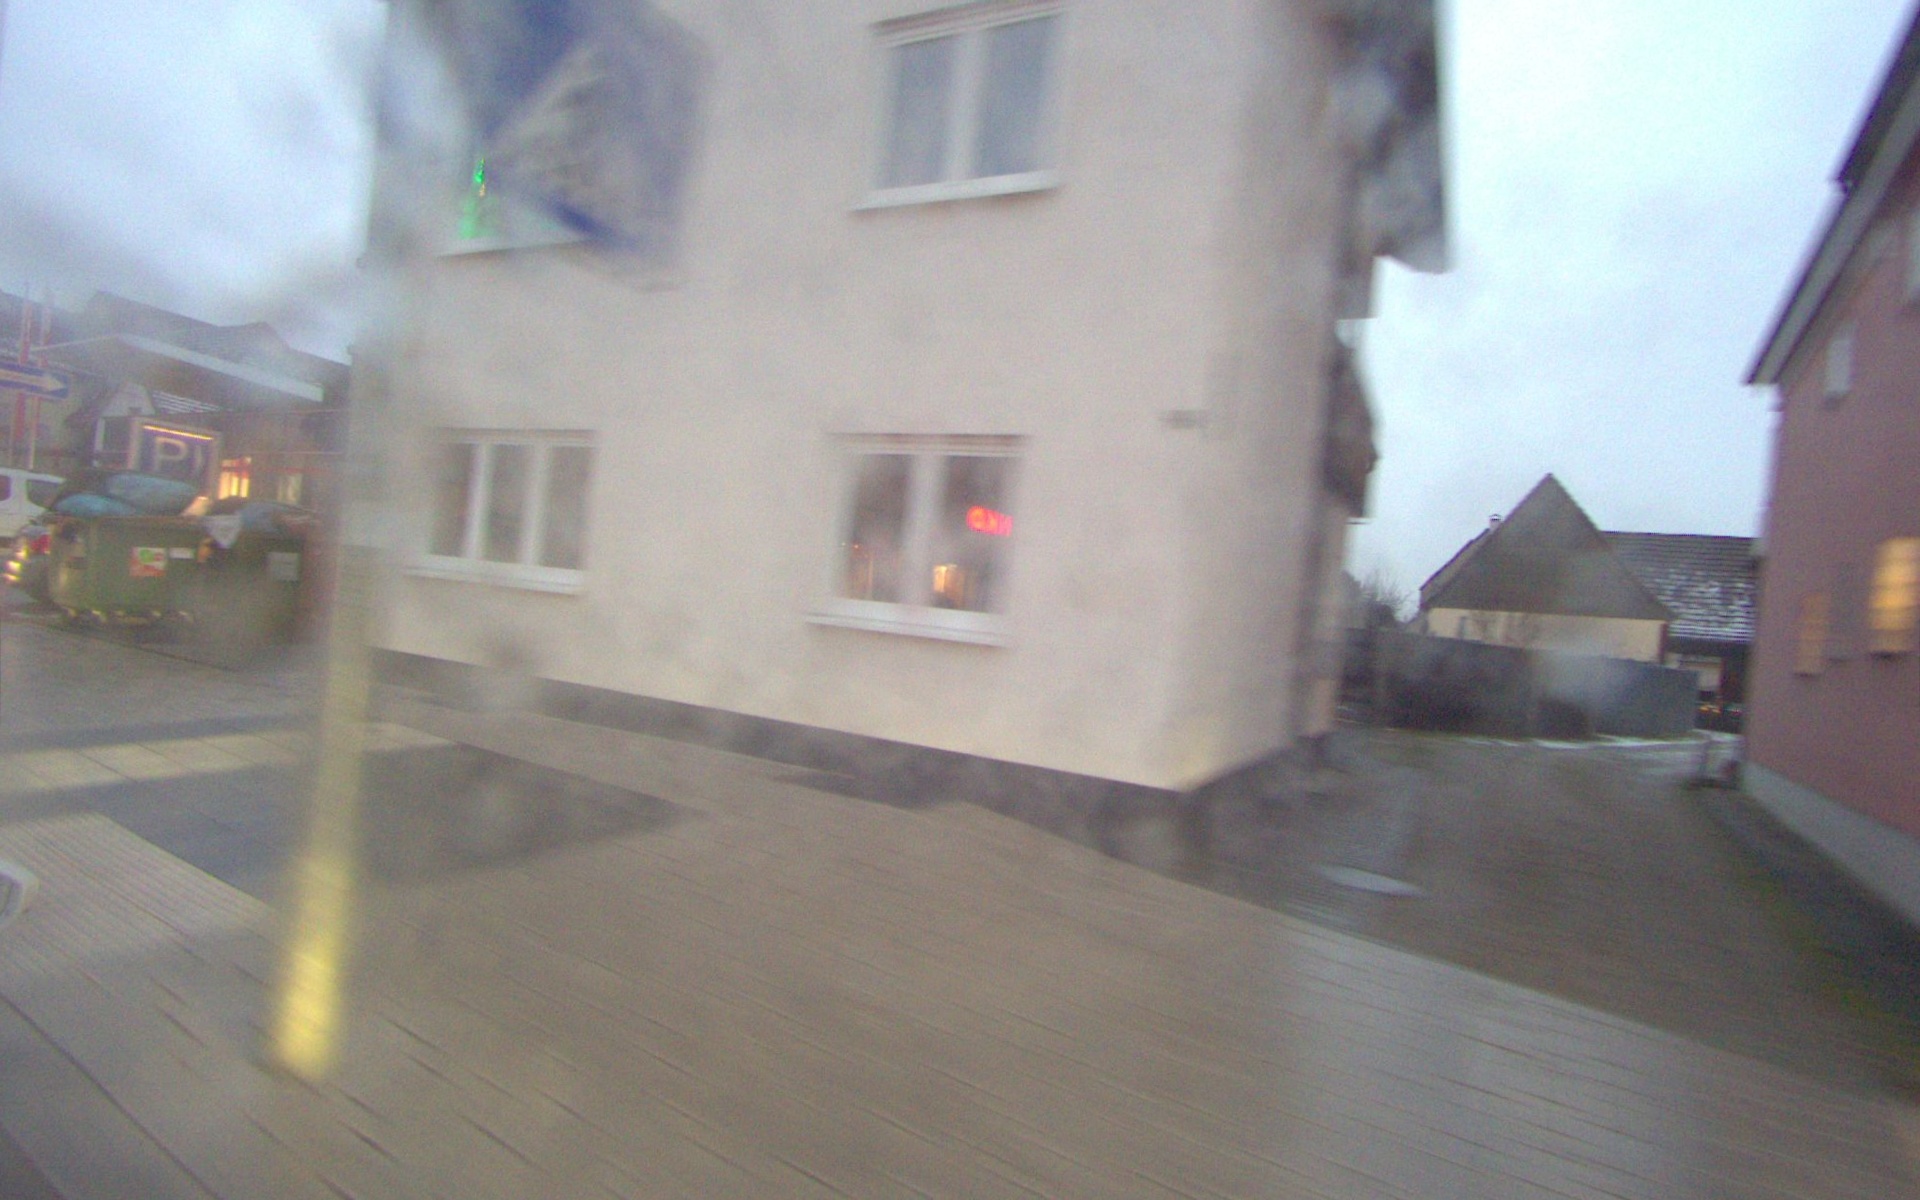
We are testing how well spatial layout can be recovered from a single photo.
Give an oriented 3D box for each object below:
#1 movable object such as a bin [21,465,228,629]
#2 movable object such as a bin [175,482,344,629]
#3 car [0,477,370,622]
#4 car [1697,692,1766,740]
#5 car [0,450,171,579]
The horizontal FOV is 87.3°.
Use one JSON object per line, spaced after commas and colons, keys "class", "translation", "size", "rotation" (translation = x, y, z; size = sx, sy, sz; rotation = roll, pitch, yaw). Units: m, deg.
{"class": "movable object such as a bin", "translation": [-9.527, -0.581, 11.503], "size": [1.240, 1.665, 1.394], "rotation": [7, 2, 29]}
{"class": "movable object such as a bin", "translation": [-8.785, -0.539, 12.649], "size": [1.165, 1.666, 1.286], "rotation": [7, 2, 29]}
{"class": "car", "translation": [-10.850, -0.628, 14.061], "size": [1.883, 1.504, 3.988], "rotation": [5, -1, 35]}
{"class": "car", "translation": [31.281, 4.701, 40.887], "size": [1.739, 1.647, 3.993], "rotation": [6, -2, 33]}
{"class": "car", "translation": [-17.355, -1.646, 18.494], "size": [1.971, 2.076, 4.084], "rotation": [7, 1, 40]}
